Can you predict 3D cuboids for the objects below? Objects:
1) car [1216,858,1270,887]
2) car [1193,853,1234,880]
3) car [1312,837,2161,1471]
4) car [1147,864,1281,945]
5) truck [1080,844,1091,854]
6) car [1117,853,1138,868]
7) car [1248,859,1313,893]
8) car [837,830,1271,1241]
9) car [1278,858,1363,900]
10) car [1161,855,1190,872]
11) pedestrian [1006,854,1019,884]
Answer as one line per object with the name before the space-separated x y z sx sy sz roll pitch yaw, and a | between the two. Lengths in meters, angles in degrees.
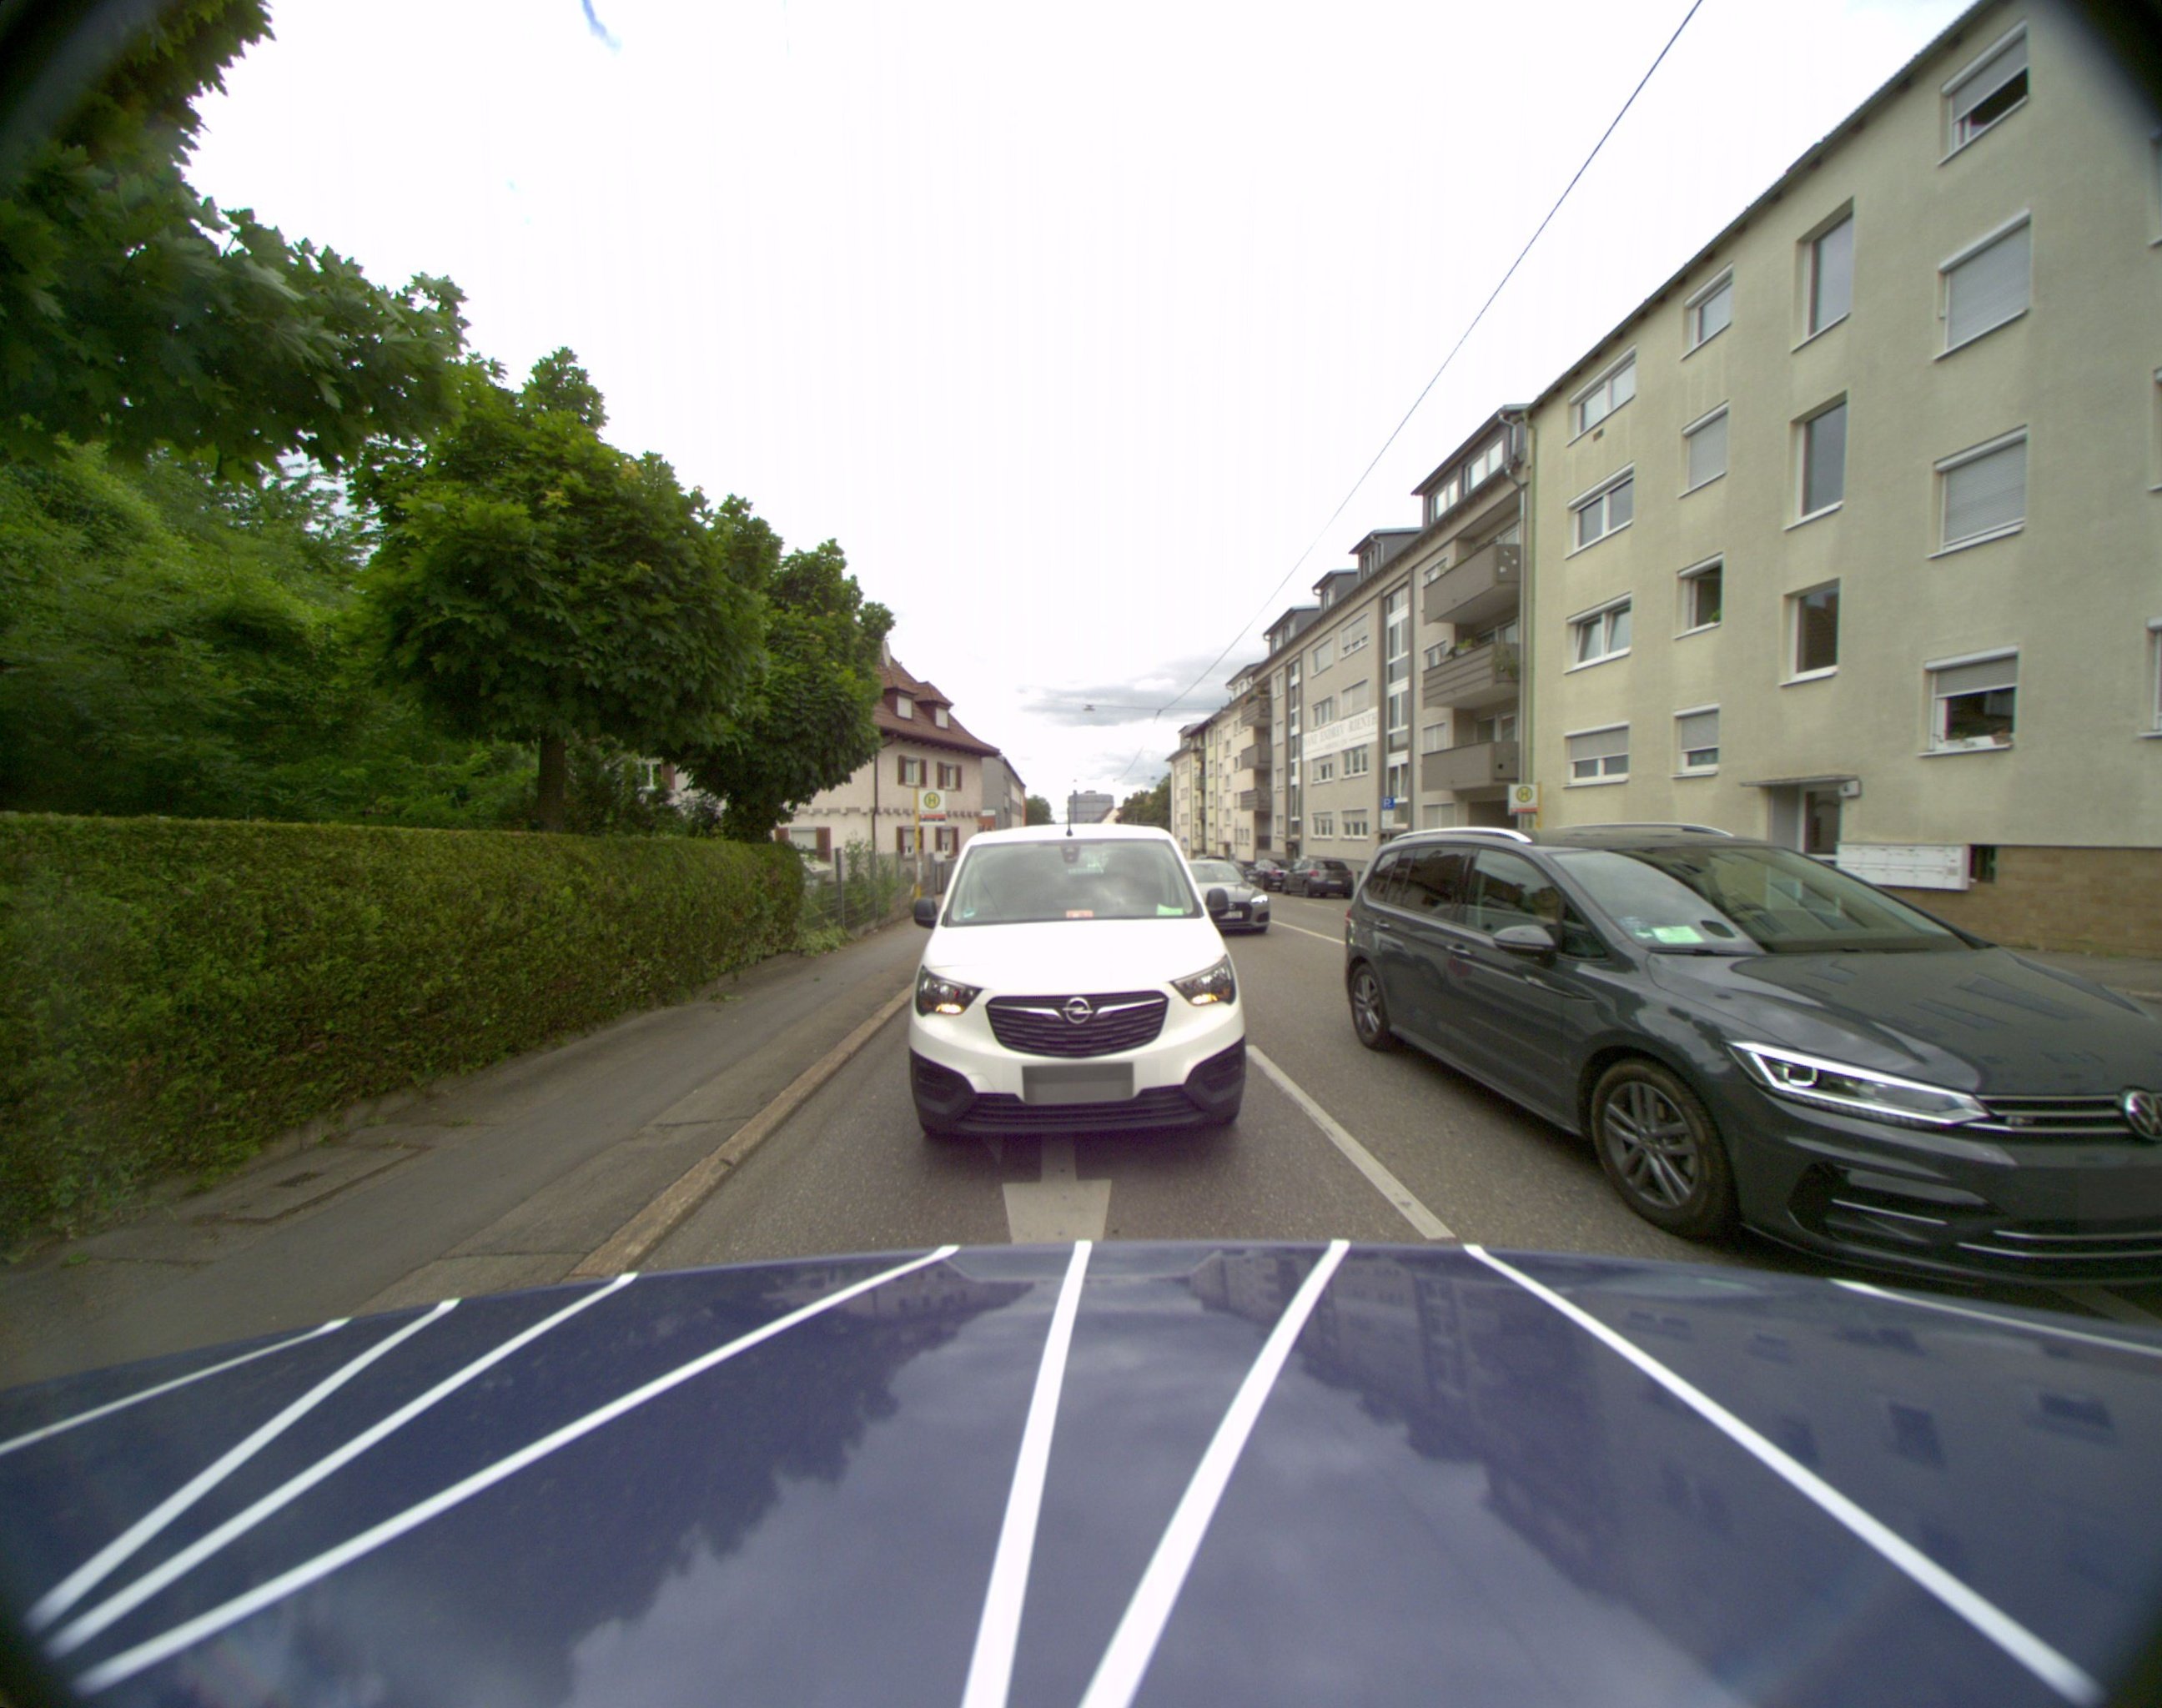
car | 8.384 0.915 39.549 1.776 1.395 3.538 0 1 -5
car | 8.429 0.763 48.681 1.776 1.591 3.538 0 1 -5
car | 2.998 0.758 4.248 1.863 1.601 4.478 -2 1 -2
car | 2.503 0.914 15.348 1.882 1.347 4.145 0 0 -1
truck | 1.163 -1.244 186.299 2.547 2.522 5.493 -1 0 -1
car | 4.884 0.701 80.015 1.775 1.513 4.082 0 1 -2
car | 8.724 0.920 33.520 1.669 1.368 3.538 0 1 -5
car | -0.084 0.787 5.734 1.862 1.772 4.711 -2 1 1
car | 8.896 0.886 28.571 1.776 1.403 3.685 0 1 -5
car | 8.114 0.814 65.605 1.776 1.395 3.757 0 1 -5
pedestrian | -4.226 0.912 46.893 0.646 1.830 0.593 -1 1 11
